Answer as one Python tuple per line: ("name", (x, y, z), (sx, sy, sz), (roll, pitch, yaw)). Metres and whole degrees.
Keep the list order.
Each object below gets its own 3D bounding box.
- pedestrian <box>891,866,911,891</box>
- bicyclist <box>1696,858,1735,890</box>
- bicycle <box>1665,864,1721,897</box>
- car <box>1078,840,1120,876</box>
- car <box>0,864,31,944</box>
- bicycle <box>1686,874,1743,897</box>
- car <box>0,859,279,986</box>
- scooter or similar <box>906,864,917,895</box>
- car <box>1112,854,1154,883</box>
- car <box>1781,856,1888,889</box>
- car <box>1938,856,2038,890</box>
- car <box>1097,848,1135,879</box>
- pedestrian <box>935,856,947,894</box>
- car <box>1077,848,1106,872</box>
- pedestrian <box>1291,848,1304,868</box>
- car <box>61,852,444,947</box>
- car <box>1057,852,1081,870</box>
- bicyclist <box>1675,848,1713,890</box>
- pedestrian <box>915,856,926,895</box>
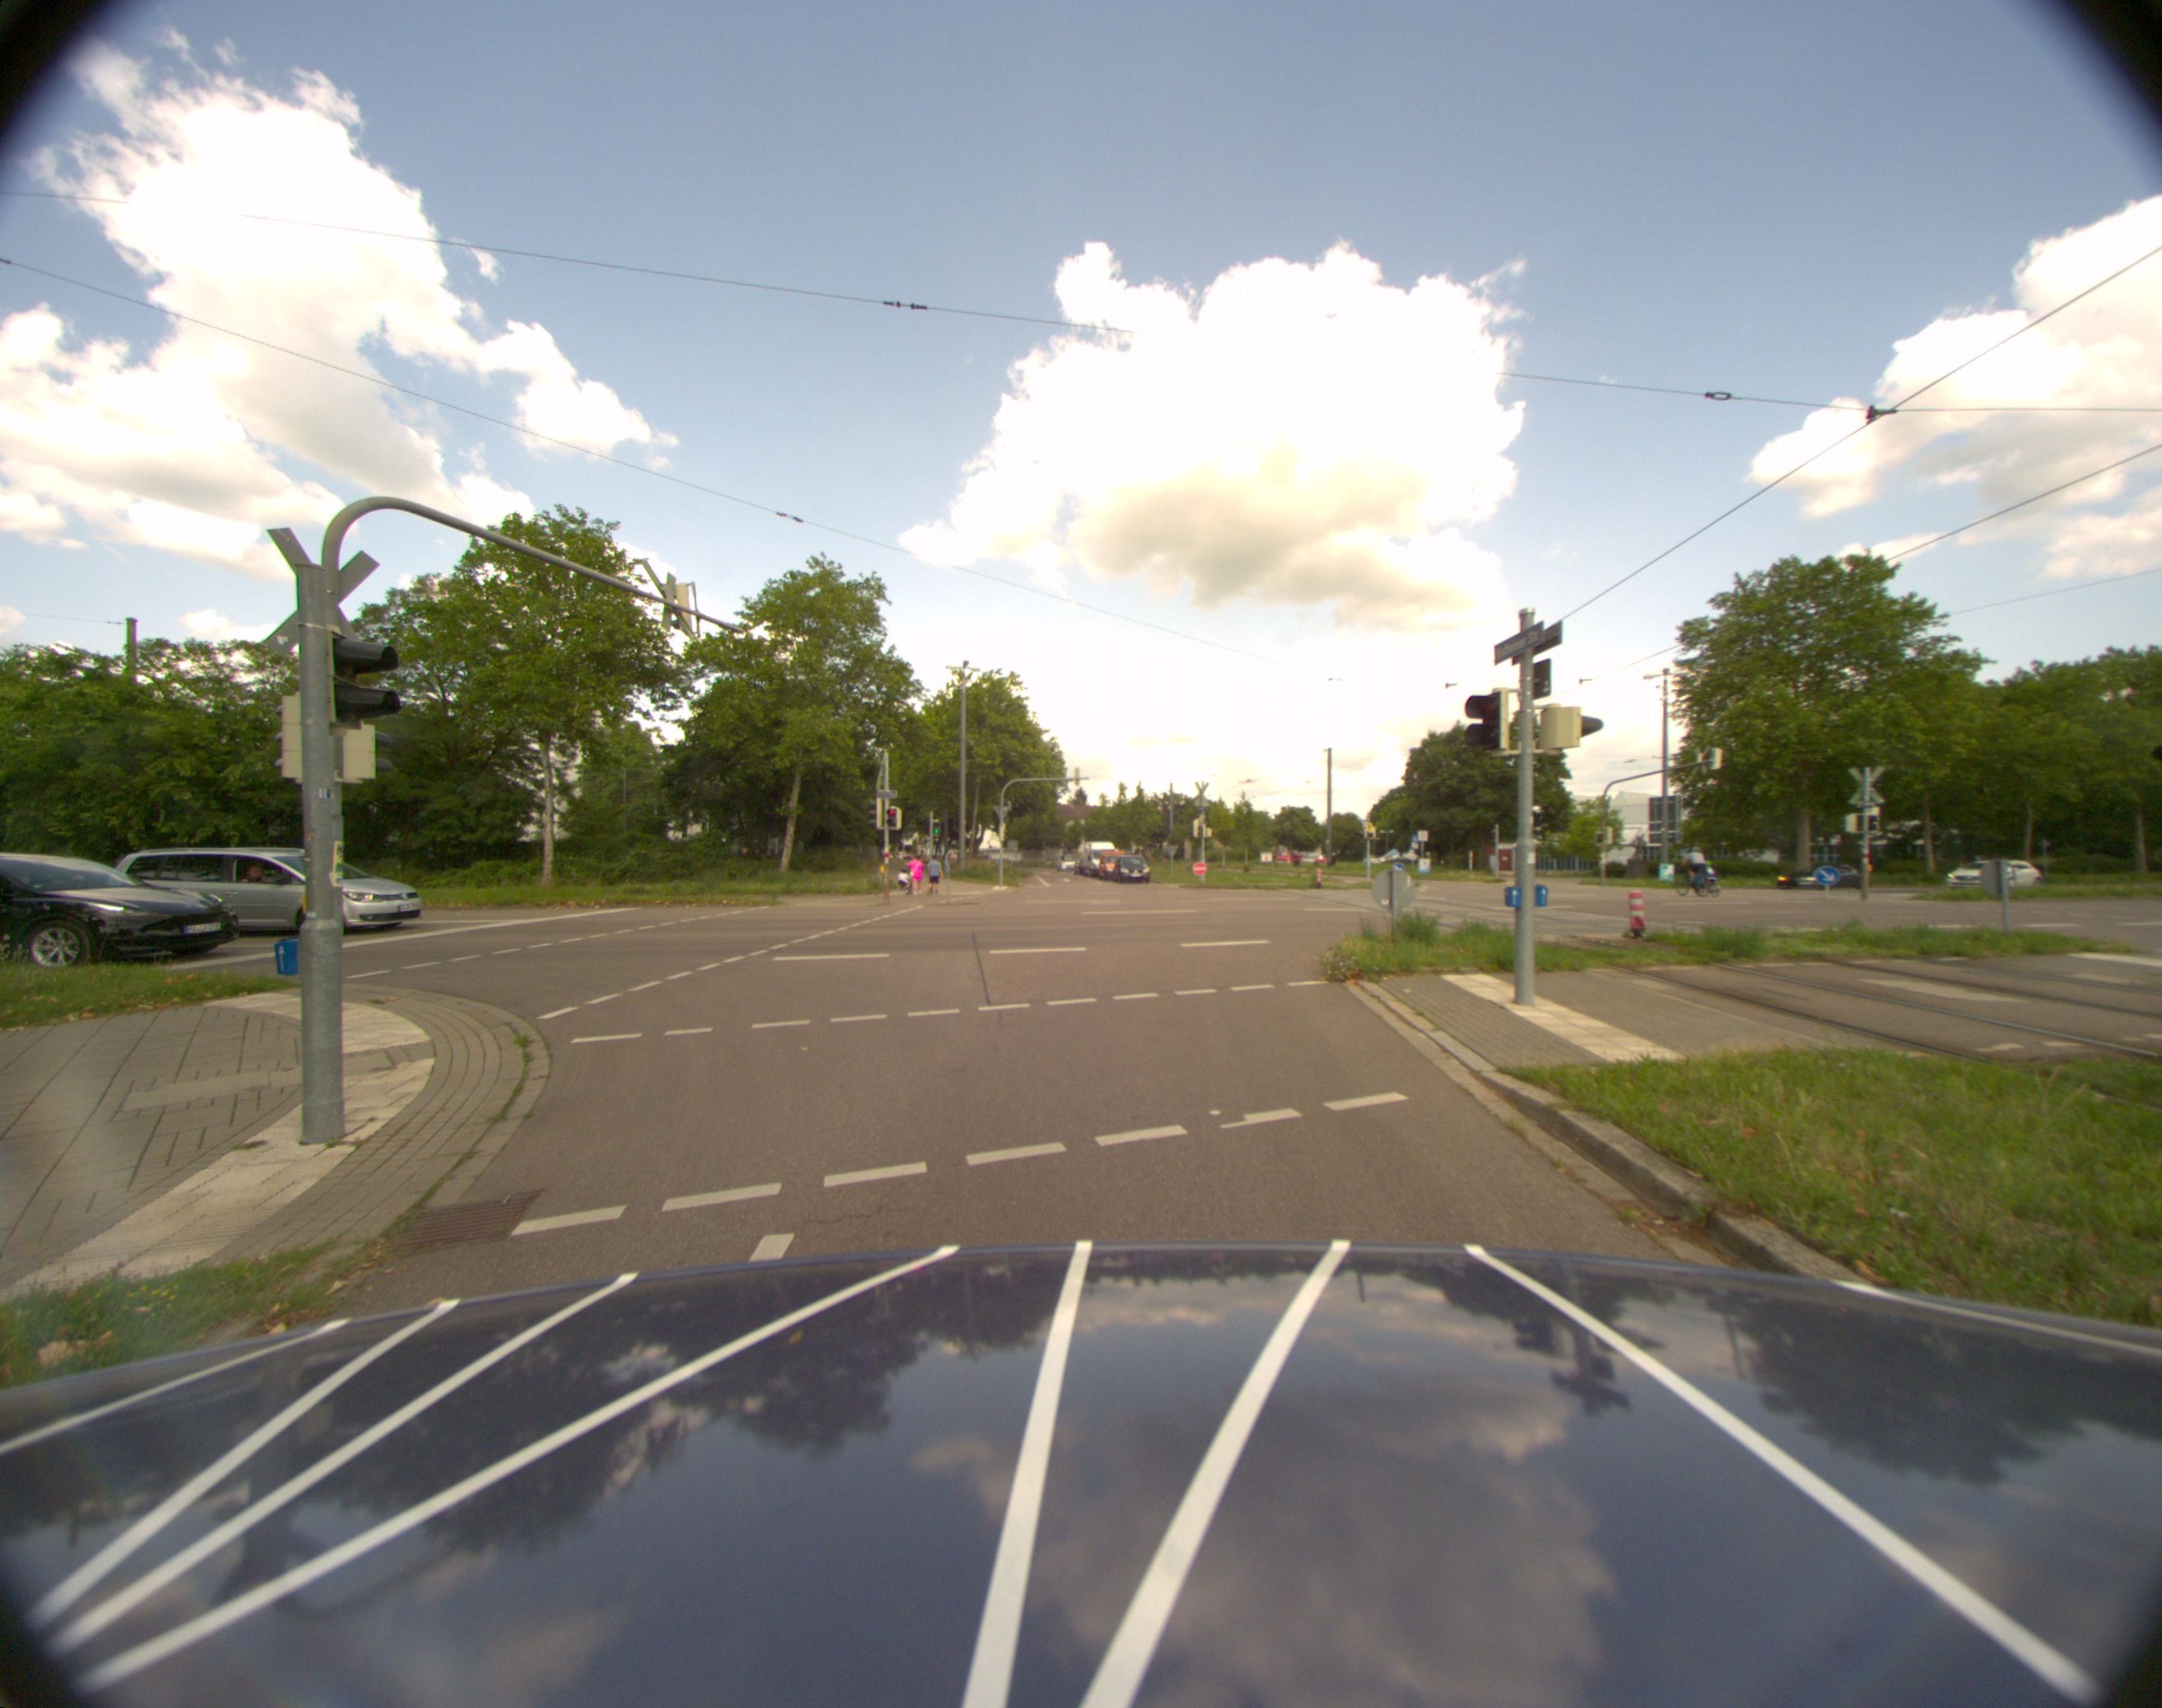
("pedestrian", (-7.519, 1.019, 31.771), (0.722, 1.028, 0.901), (0, 1, -7))
("bicyclist", (22.554, 0.687, 27.009), (0.640, 1.106, 0.929), (0, 1, 5))
("bicycle", (21.774, 0.919, 27.079), (0.647, 1.073, 1.805), (0, 1, 4))
("car", (1.275, 0.270, 56.224), (2.240, 2.492, 5.721), (-1, 0, -7))
("car", (-22.216, 0.946, 13.144), (4.749, 1.461, 1.998), (0, 1, -8))
("bicycle", (22.564, 1.104, 27.107), (0.647, 0.713, 1.805), (0, 1, 5))
("car", (-14.955, 0.897, 10.779), (4.686, 1.601, 1.998), (0, 1, -7))
("scooter or similar", (-6.617, 0.998, 29.639), (0.395, 1.154, 1.115), (0, 1, -11))
("car", (2.926, 0.785, 43.703), (1.796, 1.530, 3.998), (-1, 0, -5))
("car", (36.493, 0.893, 36.833), (3.857, 1.515, 1.698), (0, 1, -8))
("car", (43.300, 0.858, 36.266), (3.914, 1.515, 1.696), (0, 1, -18))
("car", (2.235, 0.578, 49.759), (1.796, 1.924, 4.366), (-1, 0, -6))
("pedestrian", (-5.492, 0.817, 29.796), (0.419, 1.499, 0.451), (0, 1, -8))
("car", (0.819, 0.453, 61.947), (1.796, 1.924, 4.365), (-1, 0, -7))
("pedestrian", (20.236, 0.386, 71.018), (0.908, 1.857, 1.001), (0, 1, -9))
("car", (-15.399, 0.788, 14.436), (4.686, 1.601, 1.998), (0, 1, -8))
("car", (-1.224, 0.686, 73.807), (1.868, 1.635, 4.231), (-1, 0, -7))
("bicyclist", (21.751, 0.519, 26.988), (0.624, 1.449, 0.929), (0, 1, 4))
("pedestrian", (-6.286, 0.842, 29.766), (0.419, 1.499, 0.392), (0, 1, -8))
